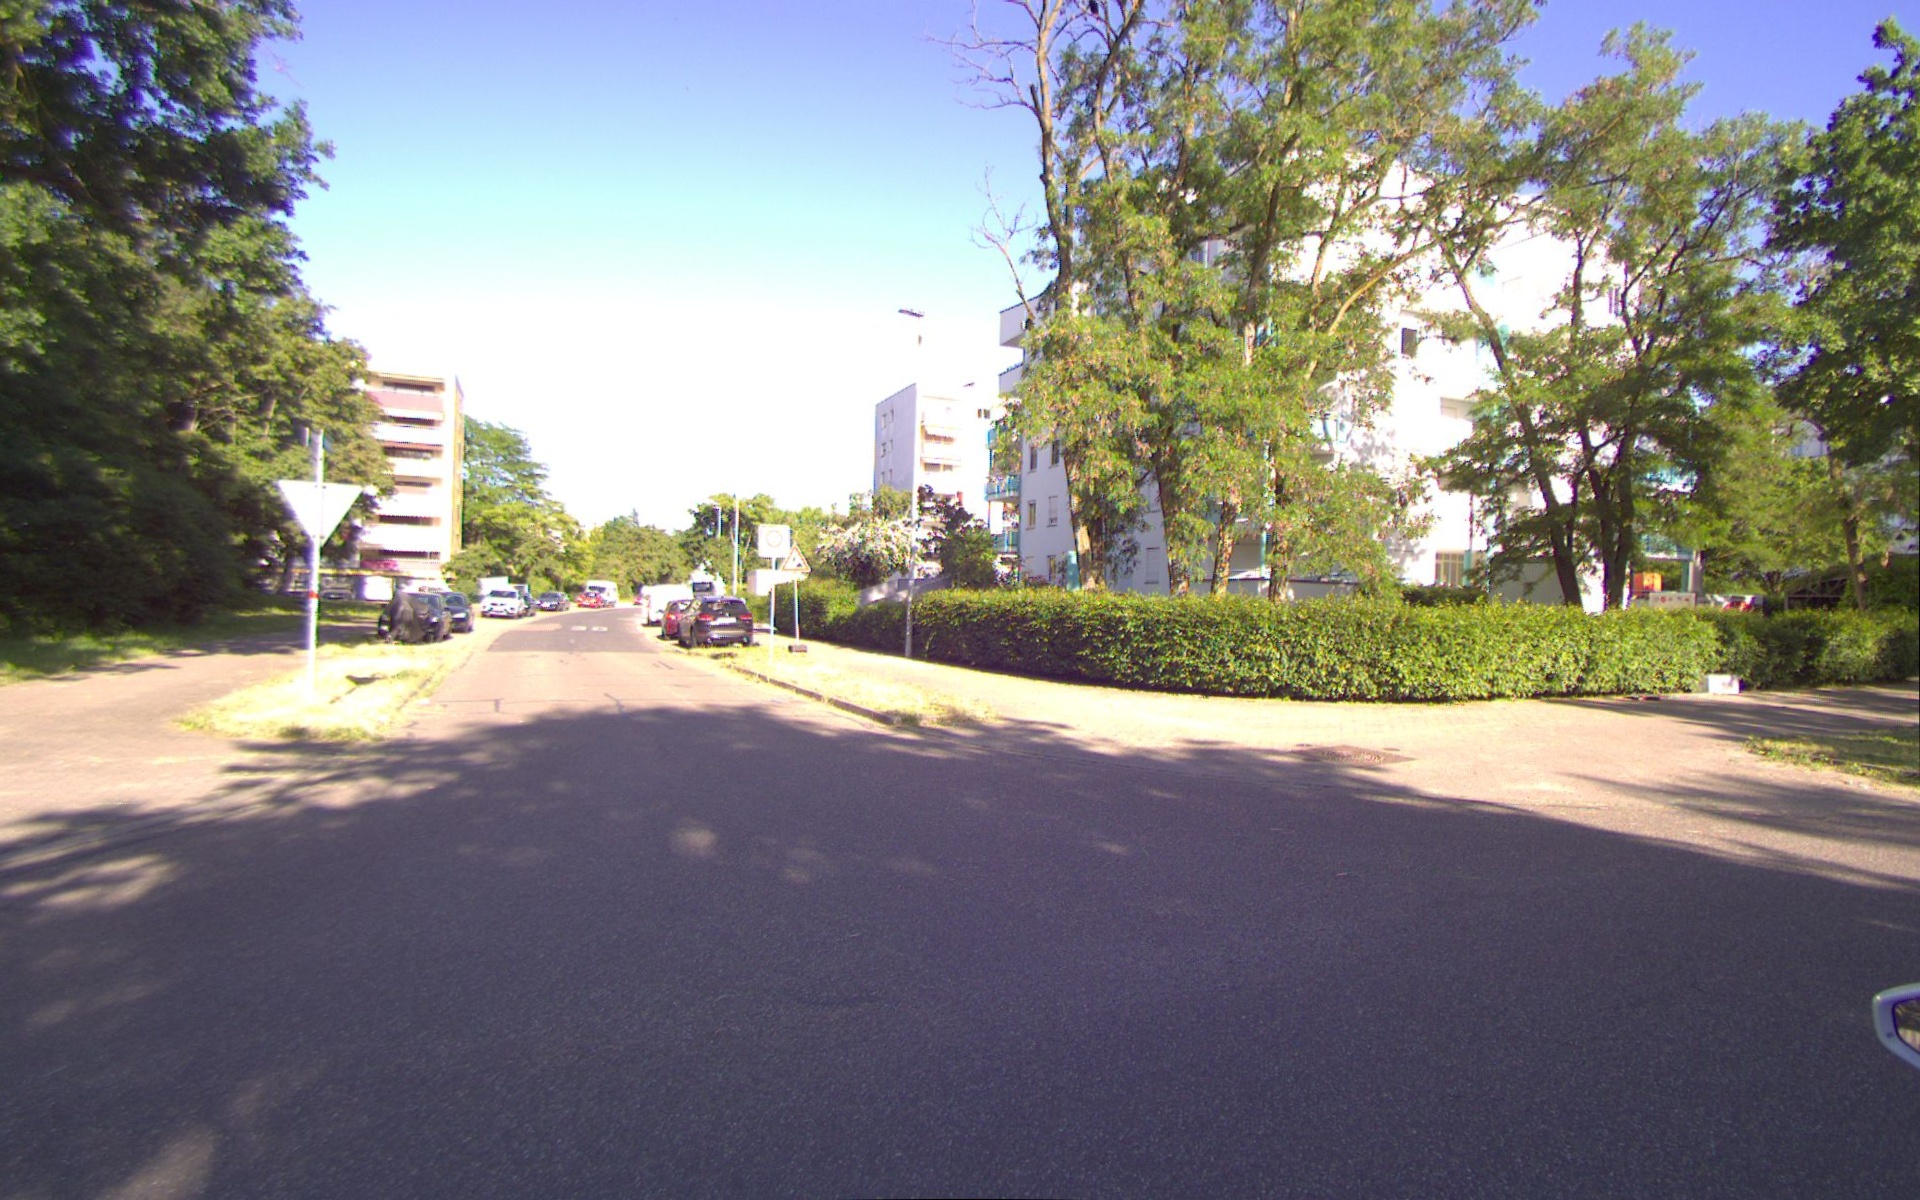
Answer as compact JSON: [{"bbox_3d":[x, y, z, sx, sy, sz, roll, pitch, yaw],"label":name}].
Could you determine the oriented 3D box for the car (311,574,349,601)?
[{"bbox_3d":[-44.142,-0.872,70.449,1.738,1.767,3.813,1,0,-24],"label":"car"}]

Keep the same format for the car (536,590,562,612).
[{"bbox_3d":[-30.215,0.058,73.752,1.623,1.578,3.813,1,0,-24],"label":"car"}]

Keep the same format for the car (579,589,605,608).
[{"bbox_3d":[-33.560,-0.150,91.698,1.796,1.617,3.989,2,0,-13],"label":"car"}]

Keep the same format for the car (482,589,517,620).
[{"bbox_3d":[-24.916,0.206,54.397,1.623,1.578,3.813,1,0,-24],"label":"car"}]

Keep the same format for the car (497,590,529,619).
[{"bbox_3d":[-26.618,0.249,59.837,1.623,1.578,3.813,1,0,-24],"label":"car"}]

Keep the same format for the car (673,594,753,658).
[{"bbox_3d":[-7.662,0.756,30.937,1.732,1.808,3.813,1,0,-24],"label":"car"}]

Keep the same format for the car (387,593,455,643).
[{"bbox_3d":[-16.352,0.514,30.584,1.538,1.410,3.567,1,0,-24],"label":"car"}]

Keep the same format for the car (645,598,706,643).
[{"bbox_3d":[-10.579,0.722,37.199,1.615,1.531,3.813,1,0,-24],"label":"car"}]

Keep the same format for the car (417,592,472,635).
[{"bbox_3d":[-18.570,0.461,36.288,1.538,1.410,3.567,1,0,-24],"label":"car"}]

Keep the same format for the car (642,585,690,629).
[{"bbox_3d":[-14.780,0.299,50.334,1.803,2.088,3.813,1,0,-24],"label":"car"}]

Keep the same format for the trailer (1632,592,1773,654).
[{"bbox_3d":[26.016,0.810,35.208,4.365,2.070,1.972,1,0,-22],"label":"trailer"}]

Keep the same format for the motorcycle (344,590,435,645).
[{"bbox_3d":[-14.919,0.458,26.322,0.664,1.362,1.955,2,0,34],"label":"motorcycle"}]

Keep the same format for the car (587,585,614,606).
[{"bbox_3d":[-34.571,-0.466,96.748,1.950,1.925,3.989,2,0,-13],"label":"car"}]

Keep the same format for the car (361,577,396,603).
[{"bbox_3d":[-41.276,-0.737,71.367,1.738,1.767,3.813,1,0,-24],"label":"car"}]

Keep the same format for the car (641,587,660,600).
[{"bbox_3d":[-38.783,-0.816,125.981,1.860,1.662,3.991,2,0,-12],"label":"car"}]

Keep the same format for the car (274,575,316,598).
[{"bbox_3d":[-45.812,-0.937,69.260,1.775,1.547,3.813,1,0,-24],"label":"car"}]

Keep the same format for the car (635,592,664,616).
[{"bbox_3d":[-20.176,0.236,65.241,1.499,1.486,3.056,1,0,-23],"label":"car"}]
